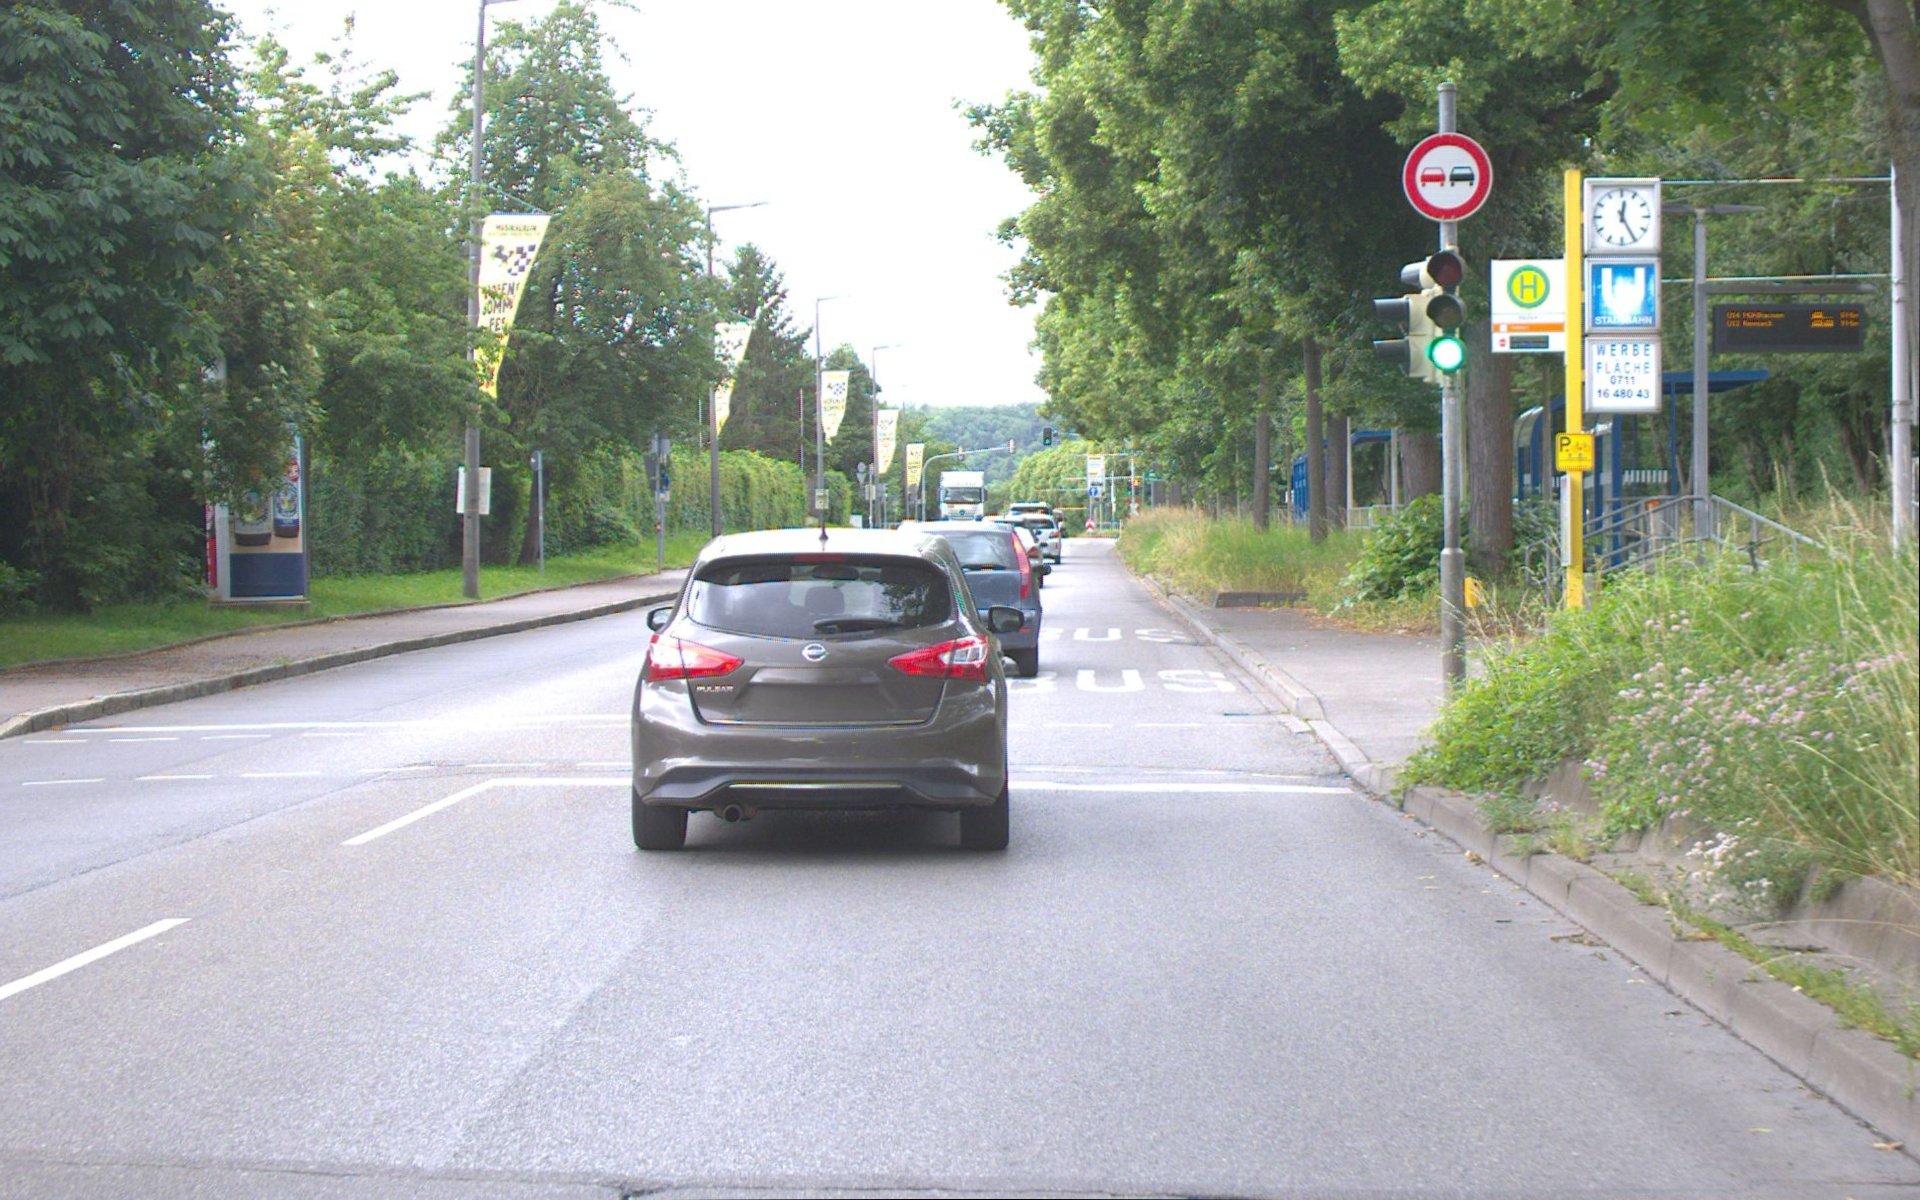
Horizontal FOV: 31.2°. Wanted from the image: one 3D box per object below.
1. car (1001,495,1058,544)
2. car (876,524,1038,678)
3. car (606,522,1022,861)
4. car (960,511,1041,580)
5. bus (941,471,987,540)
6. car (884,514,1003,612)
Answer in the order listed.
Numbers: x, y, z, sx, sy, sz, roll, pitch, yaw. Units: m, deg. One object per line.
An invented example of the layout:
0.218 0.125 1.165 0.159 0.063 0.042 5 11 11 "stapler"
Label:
2.100 -2.407 103.452 1.691 1.436 3.541 0 1 1 "car"
0.010 -0.020 33.937 1.502 1.436 3.541 0 1 1 "car"
-0.619 0.389 17.168 1.783 1.501 3.696 0 1 2 "car"
0.884 -1.163 73.493 1.691 1.436 3.541 0 1 1 "car"
0.287 -5.640 206.407 2.487 4.012 10.217 0 1 2 "bus"
-0.223 -0.574 52.278 1.691 1.436 3.541 0 1 1 "car"
